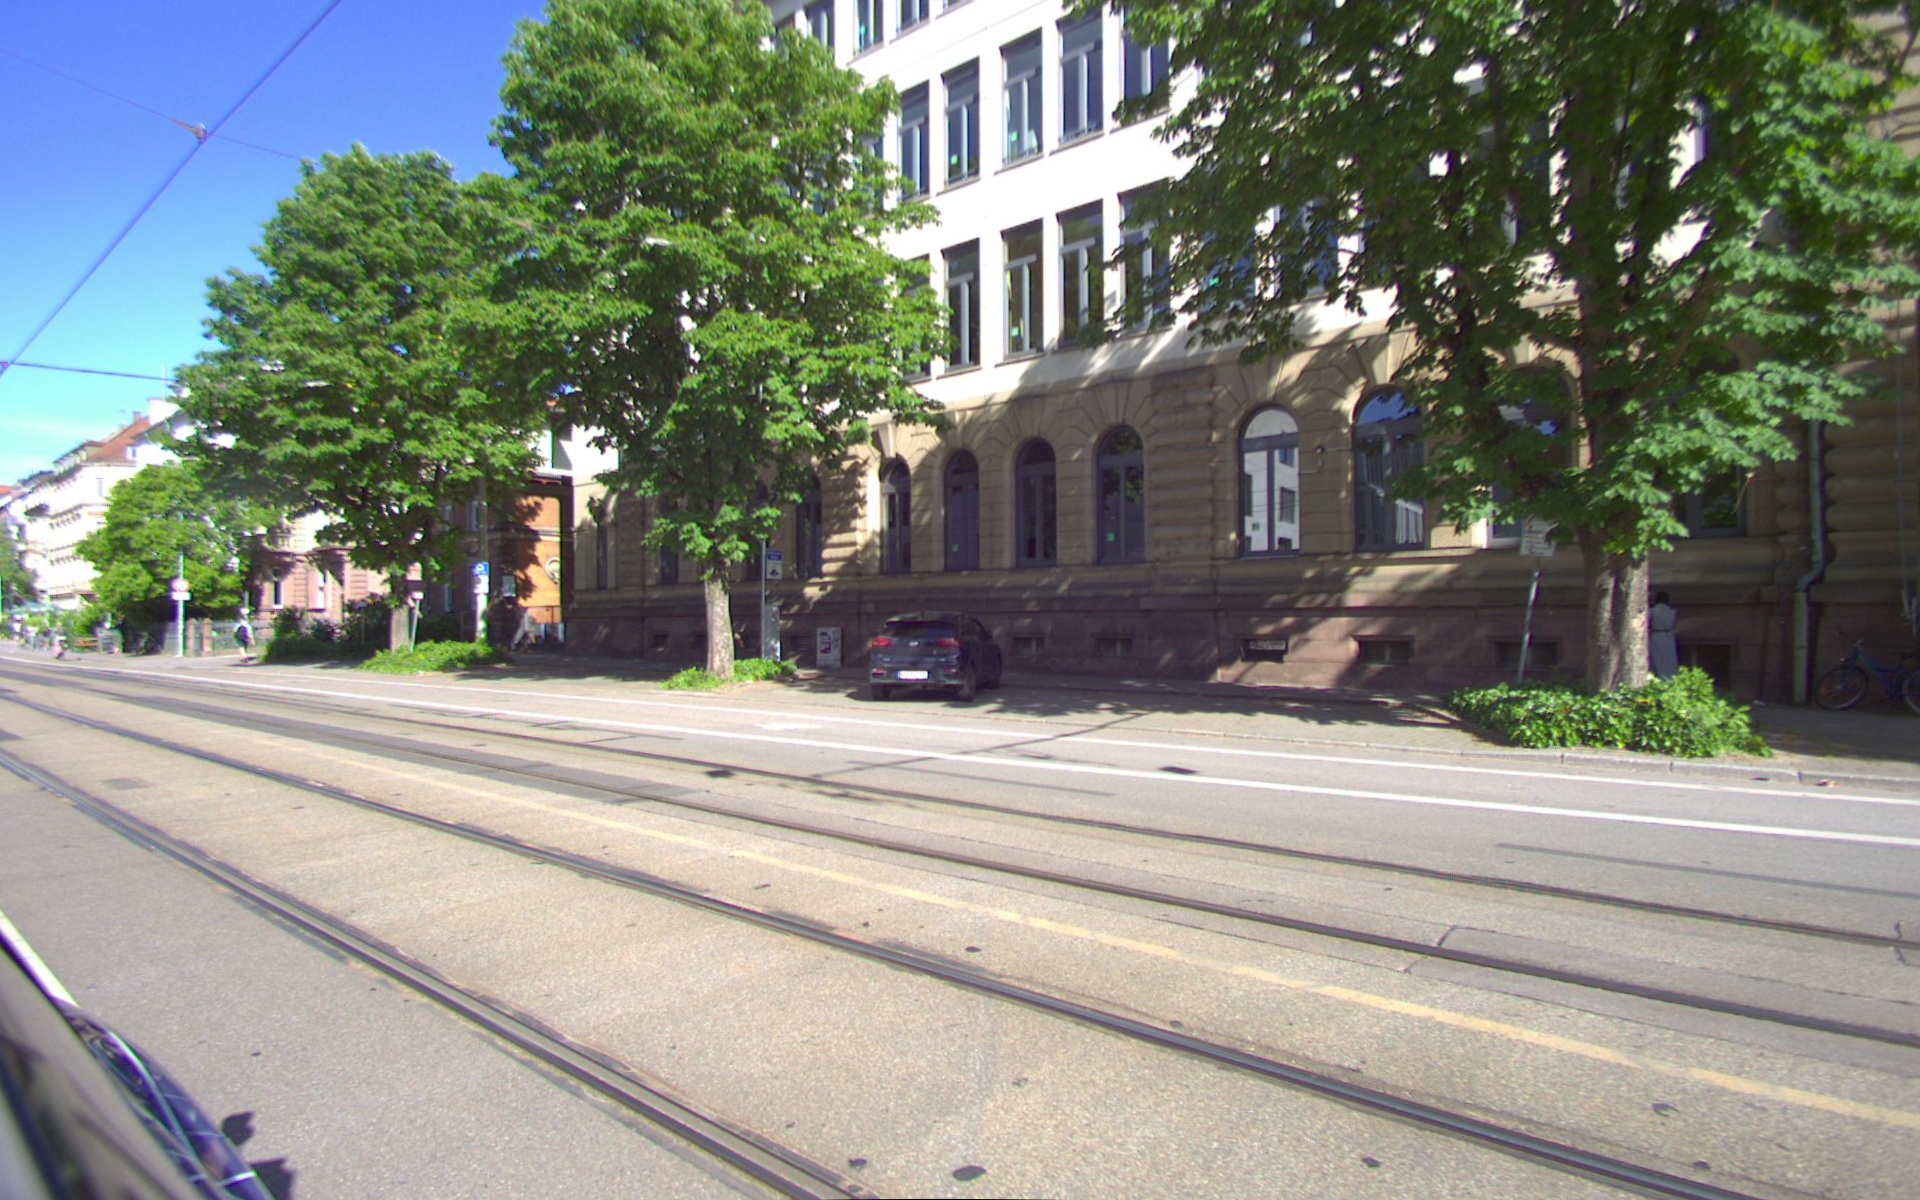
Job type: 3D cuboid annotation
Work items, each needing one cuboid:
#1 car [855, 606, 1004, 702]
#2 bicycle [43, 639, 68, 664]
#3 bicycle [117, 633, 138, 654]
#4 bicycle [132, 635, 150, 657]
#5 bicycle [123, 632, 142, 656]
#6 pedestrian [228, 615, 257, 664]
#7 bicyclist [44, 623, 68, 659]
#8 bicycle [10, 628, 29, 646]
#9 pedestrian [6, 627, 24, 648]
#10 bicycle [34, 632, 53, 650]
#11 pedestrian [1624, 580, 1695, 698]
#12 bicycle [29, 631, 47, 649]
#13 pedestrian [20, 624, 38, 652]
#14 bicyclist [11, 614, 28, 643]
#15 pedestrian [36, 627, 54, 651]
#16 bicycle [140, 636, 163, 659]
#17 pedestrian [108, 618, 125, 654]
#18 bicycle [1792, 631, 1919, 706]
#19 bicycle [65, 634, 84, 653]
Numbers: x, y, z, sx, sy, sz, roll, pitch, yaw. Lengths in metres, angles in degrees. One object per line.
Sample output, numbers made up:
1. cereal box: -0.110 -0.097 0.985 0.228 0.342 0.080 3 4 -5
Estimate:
1. car: -0.442 0.919 18.842 1.858 1.562 3.984 -1 0 12
2. bicycle: -42.061 2.377 47.056 1.932 1.133 0.679 -2 -4 44
3. bicycle: -43.697 2.281 53.113 0.628 1.053 2.027 0 -1 -33
4. bicycle: -40.950 2.303 50.591 0.582 1.053 1.907 -1 -1 -42
5. bicycle: -42.653 2.248 52.143 0.638 1.152 1.907 -2 0 -42
6. pedestrian: -27.325 1.480 38.535 0.721 1.810 0.781 -3 1 -44
7. bicyclist: -42.069 1.923 47.092 1.238 1.657 0.679 -2 -4 44
8. bicycle: -61.327 2.405 65.983 0.695 1.063 1.839 1 0 -37
9. pedestrian: -78.267 3.094 83.820 0.682 1.781 0.868 0 -1 -9
10. bicycle: -60.963 2.701 67.307 1.839 1.097 0.655 0 2 41
11. pedestrian: 10.187 0.556 14.727 0.759 1.647 0.693 -2 1 40
12. bicycle: -62.544 2.718 68.626 1.839 1.097 0.655 0 2 41
13. pedestrian: -59.096 2.409 64.238 0.808 1.727 0.747 -2 0 40
14. bicyclist: -61.326 1.851 65.994 0.695 1.868 0.988 1 -1 -37
15. pedestrian: -58.610 2.518 64.819 0.956 1.489 0.747 -2 0 41
16. bicycle: -39.201 2.317 49.074 1.905 1.053 0.583 -1 0 43
17. pedestrian: -43.962 1.886 52.746 0.567 1.845 0.691 0 -1 -31
18. bicycle: 11.912 0.881 13.203 1.619 0.924 0.476 -1 -1 41
19. bicycle: -52.378 2.579 59.859 1.742 1.067 0.632 -2 1 41
